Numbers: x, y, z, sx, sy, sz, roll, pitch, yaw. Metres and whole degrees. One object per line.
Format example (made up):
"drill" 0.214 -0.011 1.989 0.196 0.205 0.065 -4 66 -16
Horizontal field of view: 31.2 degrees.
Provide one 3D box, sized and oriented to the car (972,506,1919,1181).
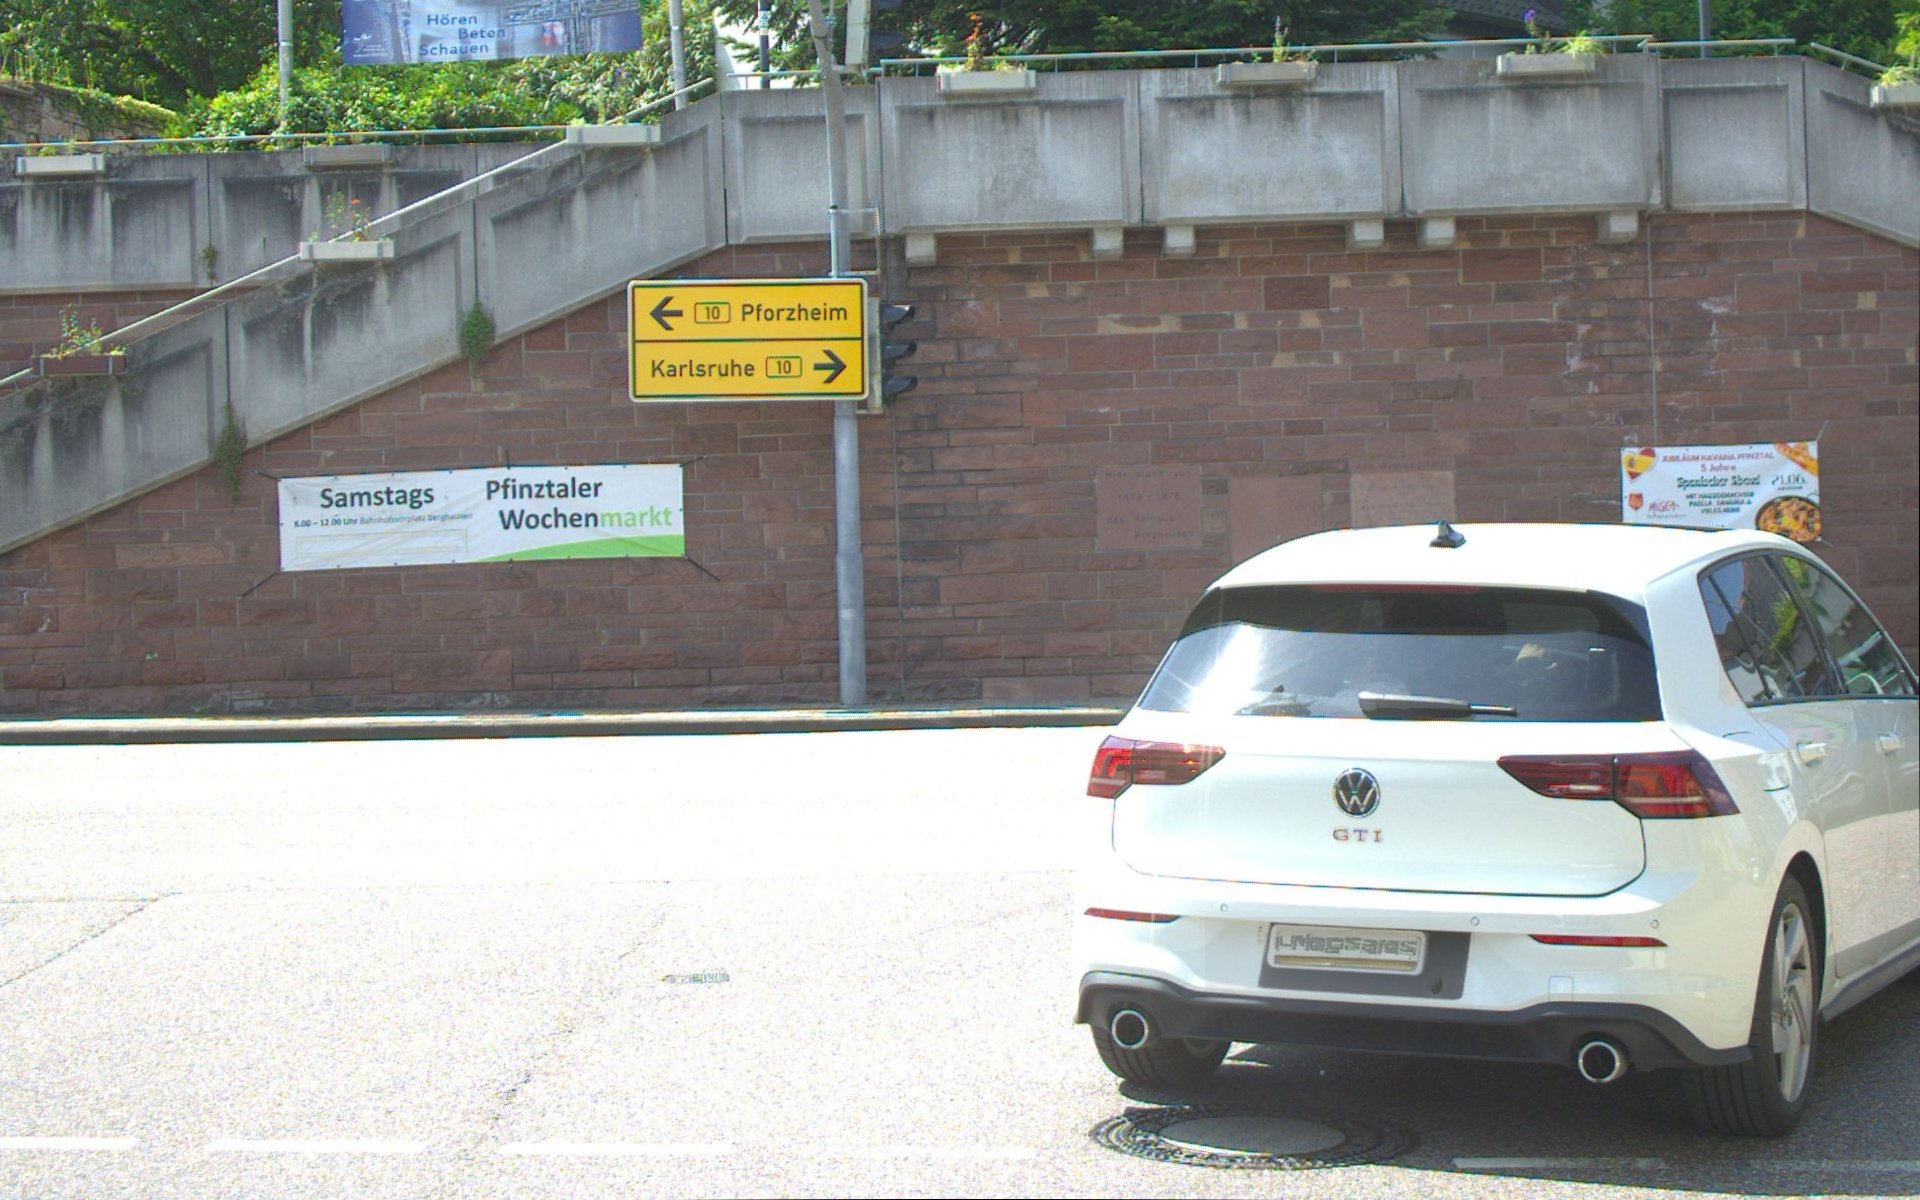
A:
"car" 1.694 0.493 9.519 1.785 1.453 3.858 -1 1 26
